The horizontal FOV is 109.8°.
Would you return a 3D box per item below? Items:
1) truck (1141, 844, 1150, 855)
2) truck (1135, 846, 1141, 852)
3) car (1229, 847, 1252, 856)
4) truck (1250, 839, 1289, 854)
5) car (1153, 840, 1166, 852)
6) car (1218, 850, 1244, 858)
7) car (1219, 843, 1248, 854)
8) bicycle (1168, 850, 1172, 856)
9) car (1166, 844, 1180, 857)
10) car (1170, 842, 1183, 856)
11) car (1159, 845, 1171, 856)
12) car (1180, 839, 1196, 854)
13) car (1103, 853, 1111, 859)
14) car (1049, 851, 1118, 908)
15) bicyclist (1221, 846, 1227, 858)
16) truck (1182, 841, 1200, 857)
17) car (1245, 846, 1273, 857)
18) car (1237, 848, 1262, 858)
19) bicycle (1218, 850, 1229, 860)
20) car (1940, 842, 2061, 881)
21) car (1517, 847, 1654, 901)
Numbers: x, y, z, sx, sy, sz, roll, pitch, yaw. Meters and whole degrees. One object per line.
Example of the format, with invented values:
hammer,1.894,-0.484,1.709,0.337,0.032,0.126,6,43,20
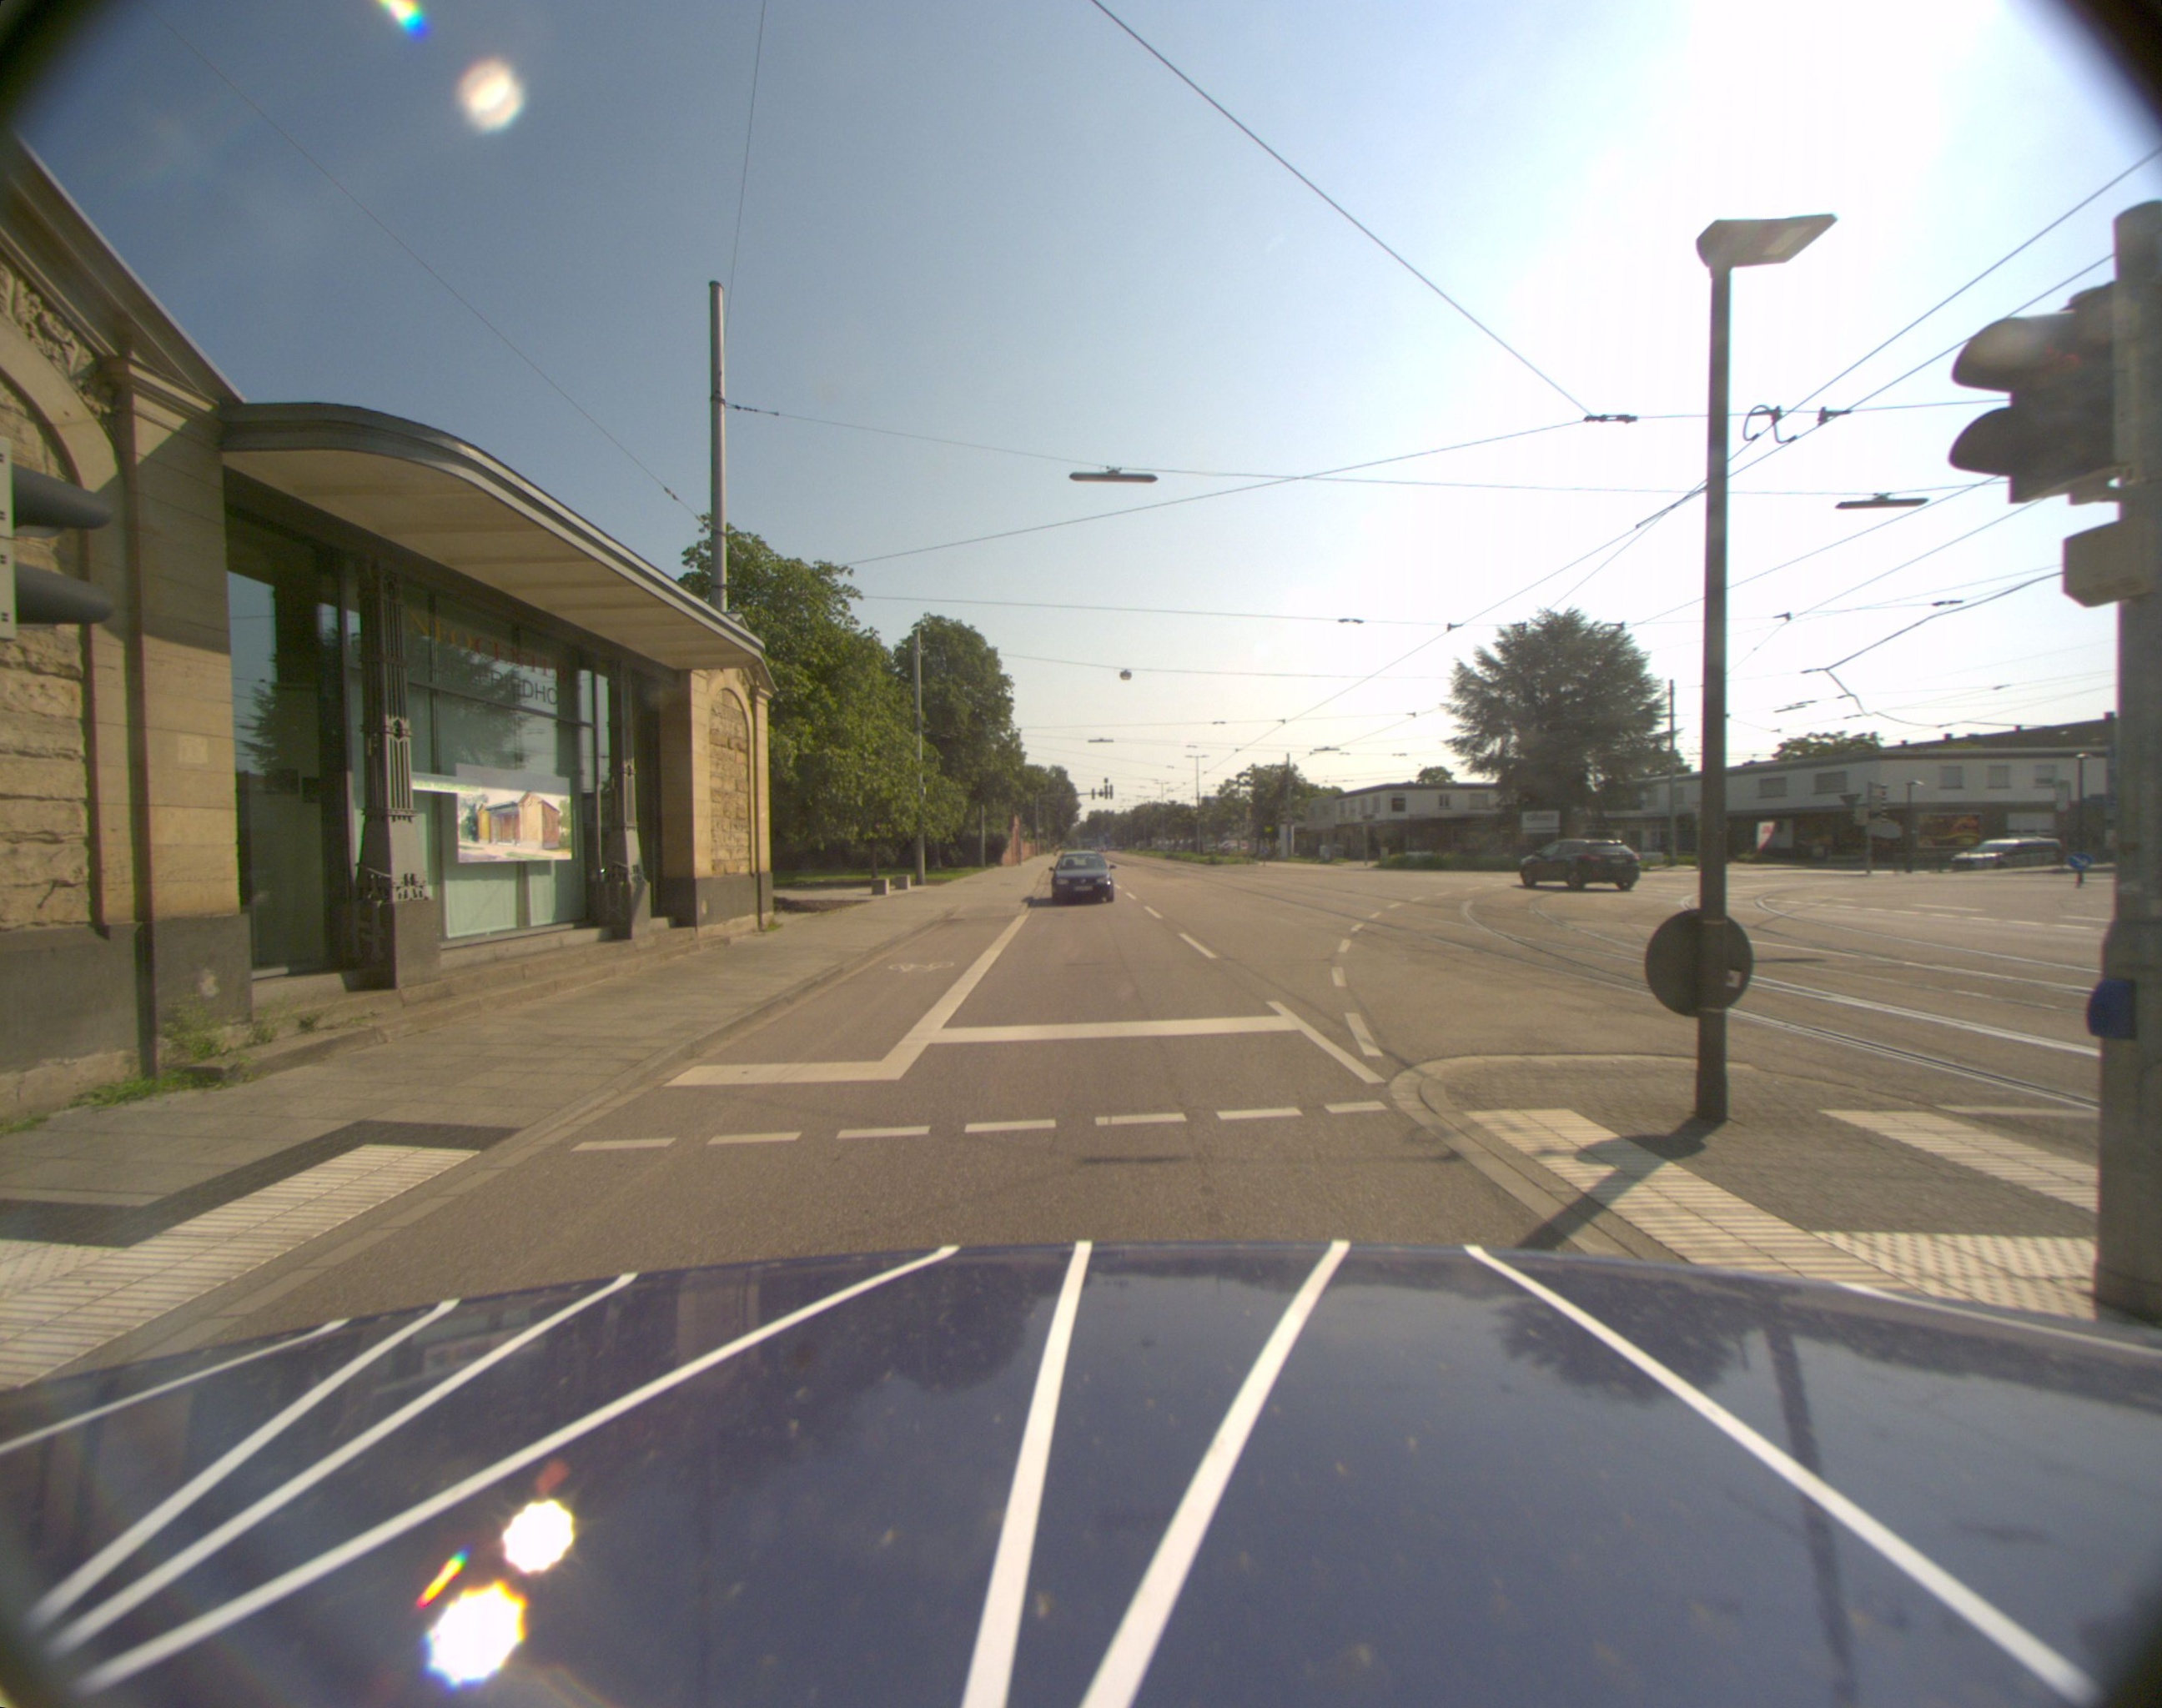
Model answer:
truck,18.929,-1.448,223.517,2.278,3.104,8.787,1,1,2
truck,19.157,-1.680,253.937,1.691,1.665,3.655,1,1,0
car,29.642,-0.452,141.558,3.933,1.441,1.633,1,1,-2
truck,29.916,-1.165,120.741,5.504,2.160,2.259,1,1,-2
car,18.579,-1.843,180.400,2.130,2.789,7.230,1,1,0
car,28.979,-0.019,146.698,4.666,1.441,1.633,1,1,-2
car,30.102,-1.073,149.759,5.199,1.914,2.052,1,1,-2
bicycle,16.487,-0.114,140.391,0.716,1.085,2.266,2,1,6
car,18.878,-0.673,156.280,2.138,2.571,5.630,1,1,0
car,18.511,-0.997,147.923,1.827,2.571,5.909,-1,0,1
car,18.869,-0.841,170.794,2.148,2.444,4.830,1,1,-2
car,19.067,-1.337,135.704,1.993,2.571,6.466,-1,1,2
car,6.059,0.465,178.302,1.727,1.317,3.999,1,1,0
car,0.092,0.659,22.139,1.776,1.416,3.935,-2,1,1
bicyclist,17.756,-0.253,94.113,0.570,1.514,0.489,1,1,-11
truck,18.150,-0.781,125.875,2.086,2.533,5.737,1,1,-1
car,30.073,-0.459,128.422,4.410,1.774,1.633,1,1,-2
car,29.037,-0.209,131.018,3.933,1.510,1.633,1,1,-2
bicycle,17.707,0.146,94.248,0.577,1.172,2.206,2,-1,-10
car,47.525,0.372,39.332,4.023,1.875,1.823,-1,1,1
car,16.993,0.616,25.880,1.818,1.645,4.247,1,1,0
